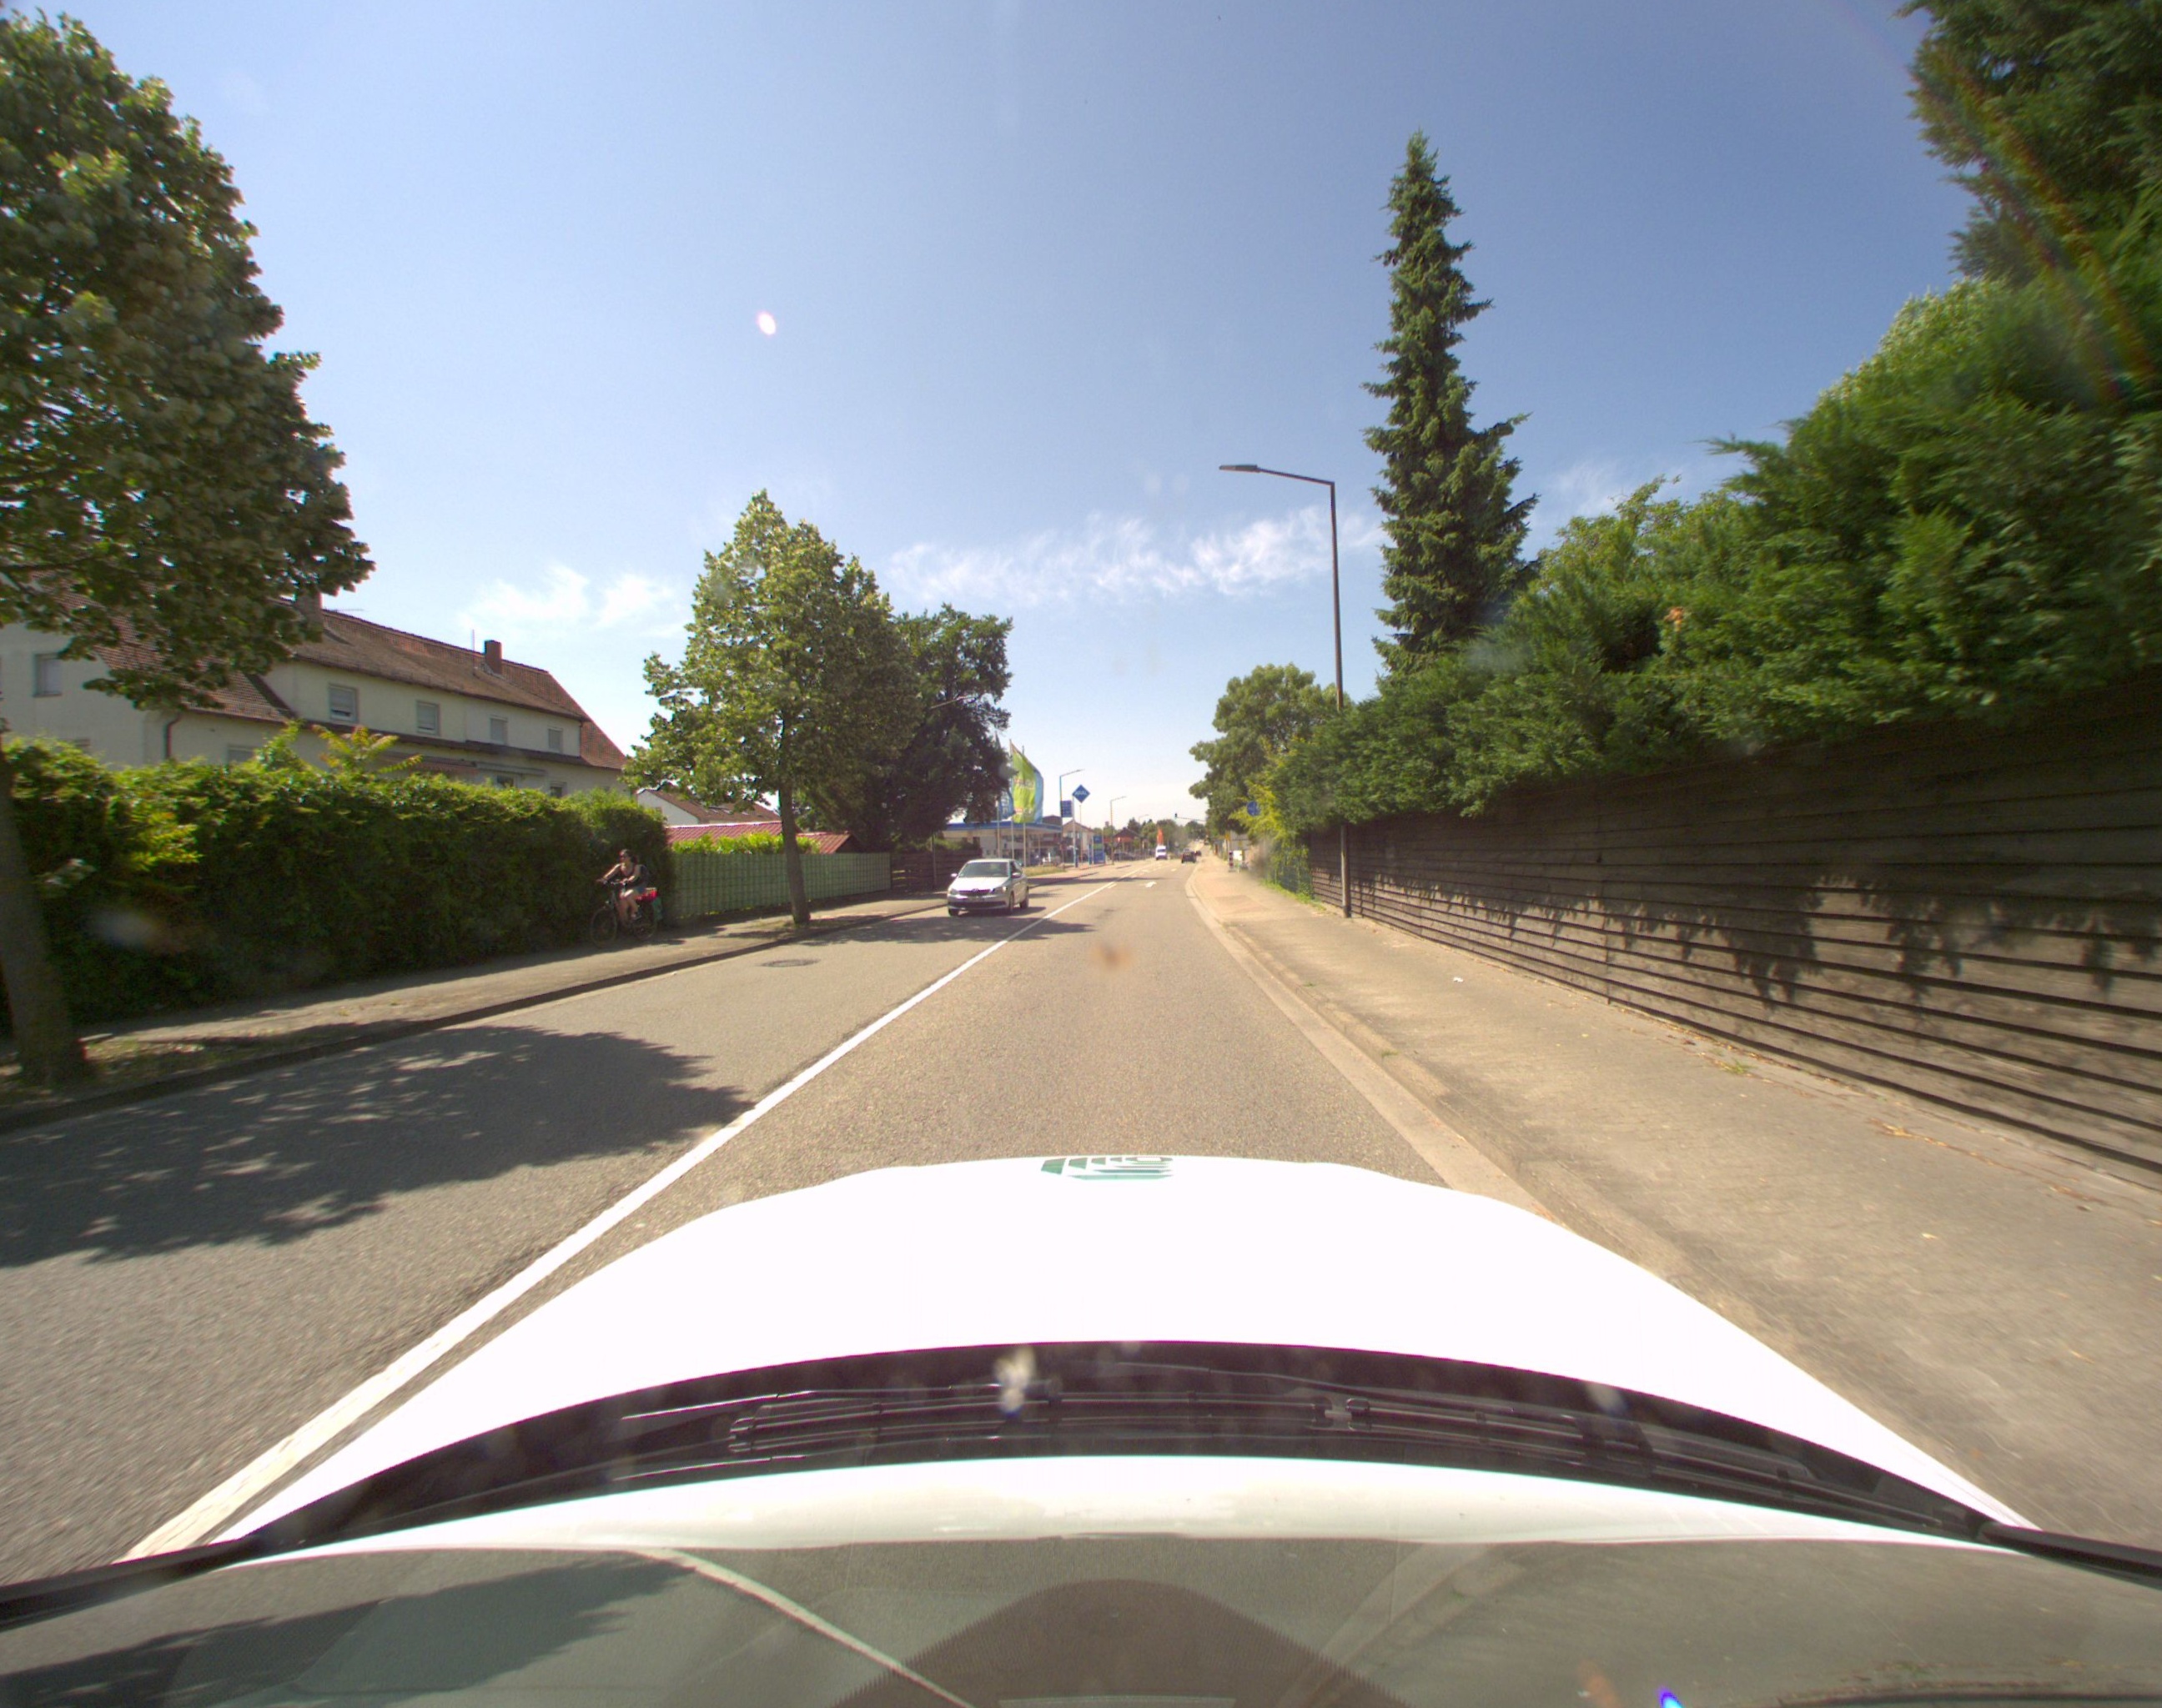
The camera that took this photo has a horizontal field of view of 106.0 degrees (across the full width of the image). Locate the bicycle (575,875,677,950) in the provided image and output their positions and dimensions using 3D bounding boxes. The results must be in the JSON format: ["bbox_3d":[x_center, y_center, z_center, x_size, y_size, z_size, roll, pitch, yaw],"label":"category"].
[{"bbox_3d":[-8.077,1.003,14.560,0.629,1.180,1.818,-3,0,4],"label":"bicycle"}]

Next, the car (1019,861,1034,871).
[{"bbox_3d":[-8.218,1.794,122.529,1.609,1.420,3.716,-4,0,4],"label":"car"}]

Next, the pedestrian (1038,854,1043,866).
[{"bbox_3d":[-6.111,0.888,123.300,0.612,1.691,0.705,-3,0,-17],"label":"pedestrian"}]

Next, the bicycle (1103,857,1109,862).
[{"bbox_3d":[4.433,1.041,143.399,0.609,0.793,2.581,-3,0,9],"label":"bicycle"}]

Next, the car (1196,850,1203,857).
[{"bbox_3d":[28.706,-0.153,197.463,1.656,1.455,3.481,-3,0,9],"label":"car"}]

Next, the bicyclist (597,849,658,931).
[{"bbox_3d":[-8.095,0.623,14.559,0.625,1.408,0.677,-3,0,4],"label":"bicyclist"}]

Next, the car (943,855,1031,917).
[{"bbox_3d":[-2.467,0.807,22.236,1.604,1.482,3.712,-2,0,5],"label":"car"}]

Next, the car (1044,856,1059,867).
[{"bbox_3d":[-4.429,1.159,122.642,1.609,1.420,3.716,-4,0,4],"label":"car"}]

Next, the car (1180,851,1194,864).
[{"bbox_3d":[13.339,0.412,102.384,1.656,1.455,3.481,-3,0,9],"label":"car"}]

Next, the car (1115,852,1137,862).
[{"bbox_3d":[8.394,0.552,151.626,3.968,1.508,1.557,-3,0,5],"label":"car"}]

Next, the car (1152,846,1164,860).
[{"bbox_3d":[14.504,-0.155,153.216,1.982,2.423,5.961,-1,-1,9],"label":"car"}]
